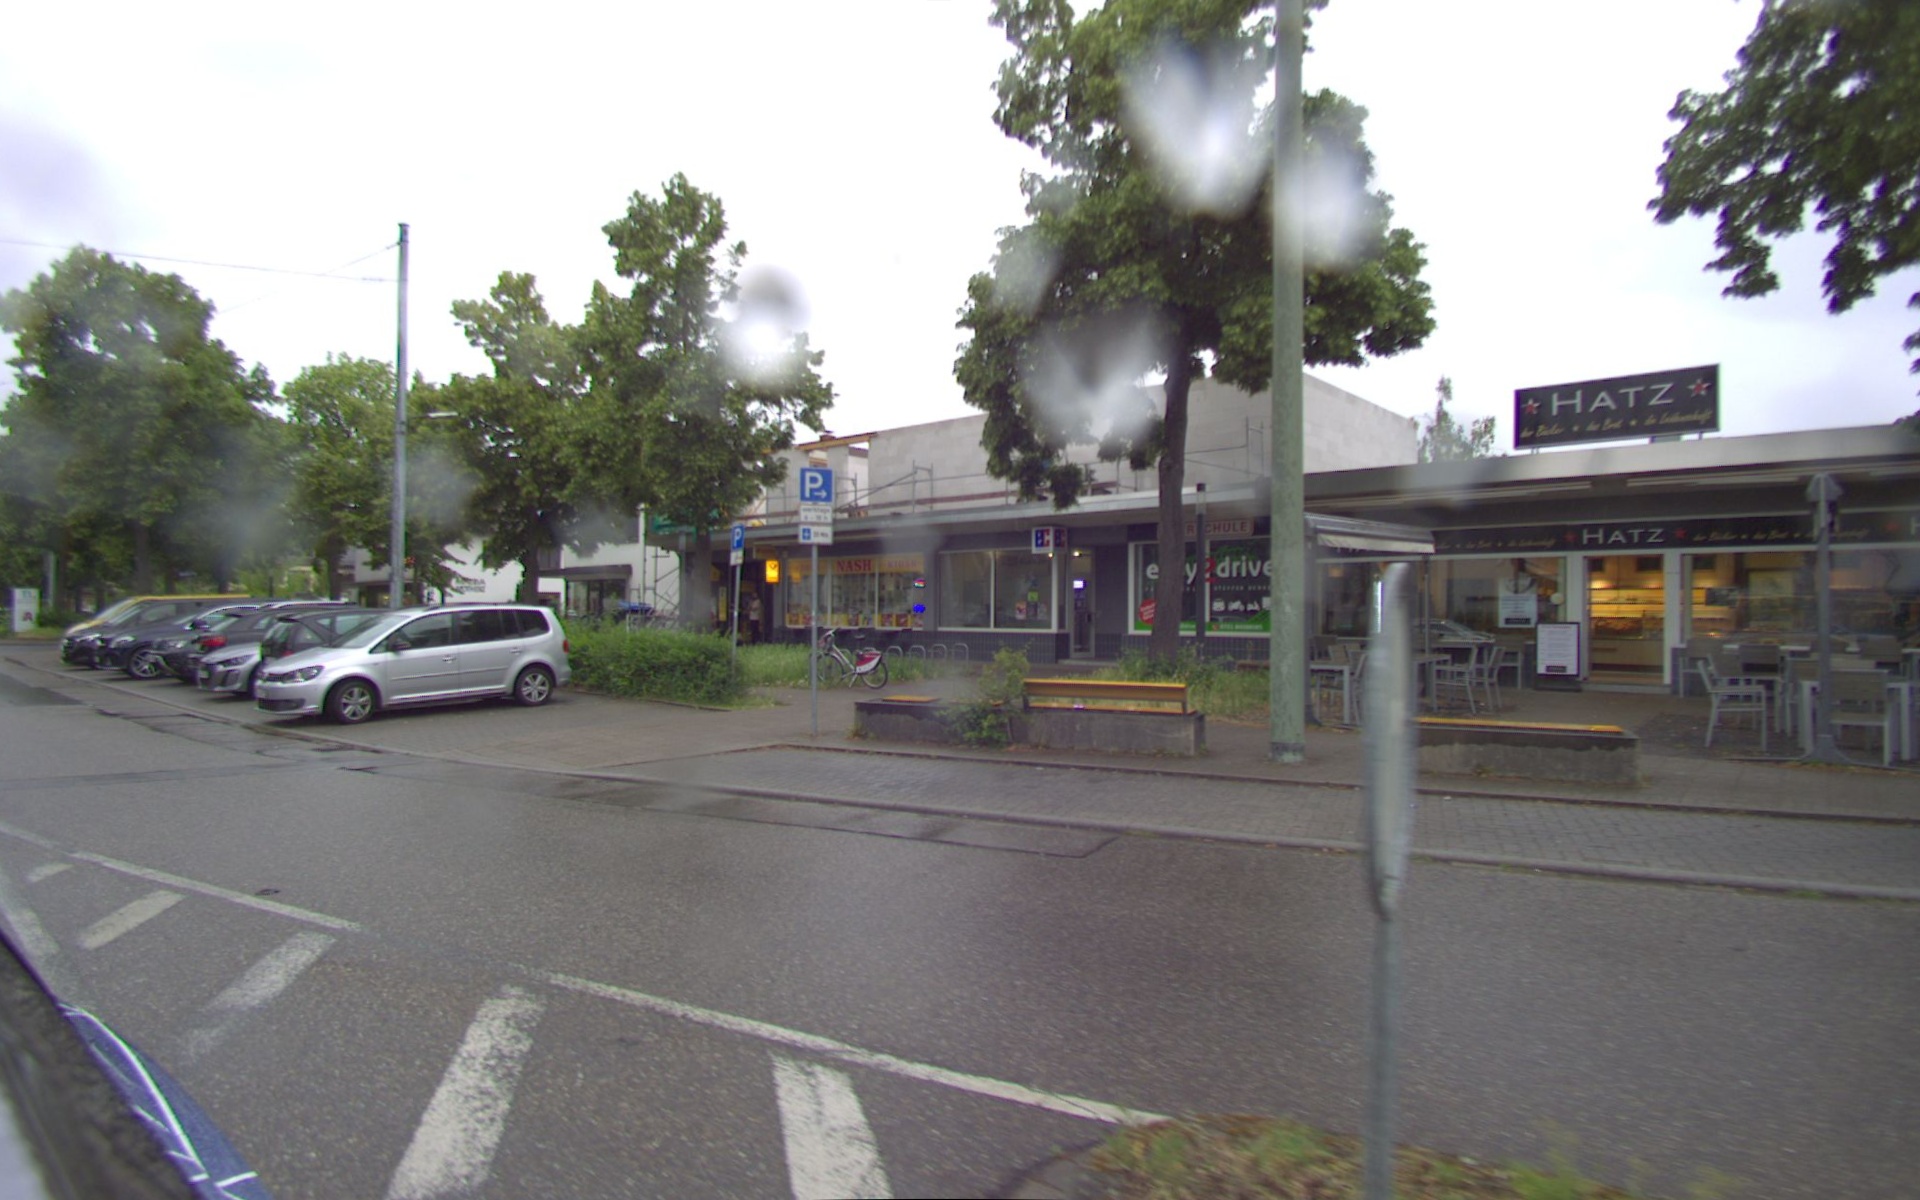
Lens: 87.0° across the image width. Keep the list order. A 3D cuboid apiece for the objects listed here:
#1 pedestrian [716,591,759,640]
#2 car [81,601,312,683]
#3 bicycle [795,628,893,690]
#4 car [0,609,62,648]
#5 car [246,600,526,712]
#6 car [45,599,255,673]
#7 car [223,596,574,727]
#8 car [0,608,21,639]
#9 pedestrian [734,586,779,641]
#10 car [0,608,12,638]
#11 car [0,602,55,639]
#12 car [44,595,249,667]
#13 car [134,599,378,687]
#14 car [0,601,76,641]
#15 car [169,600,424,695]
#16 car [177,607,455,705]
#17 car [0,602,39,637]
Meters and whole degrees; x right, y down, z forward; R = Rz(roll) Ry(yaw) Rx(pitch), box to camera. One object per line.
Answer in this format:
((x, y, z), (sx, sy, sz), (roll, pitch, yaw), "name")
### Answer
((-7.351, 0.505, 33.416), (1.063, 1.596, 0.950), (1, -1, -39), "pedestrian")
((-17.920, 0.917, 23.891), (1.897, 1.722, 4.037), (-1, 0, 39), "car")
((-2.142, 1.066, 18.646), (1.740, 1.080, 0.589), (0, -2, 24), "bicycle")
((-50.107, 1.487, 52.916), (1.897, 1.958, 4.489), (-1, 0, 39), "car")
((-9.937, 0.877, 17.748), (1.792, 1.686, 3.896), (-1, 0, 39), "car")
((-22.250, 0.925, 27.933), (1.897, 1.823, 4.249), (-1, 0, 39), "car")
((-8.443, 0.816, 15.535), (1.998, 1.686, 4.281), (-1, 0, 39), "car")
((-61.214, 1.492, 62.501), (1.897, 1.958, 4.489), (-1, 0, 40), "car")
((-6.485, 0.433, 32.265), (1.063, 1.727, 0.950), (1, -1, -39), "pedestrian")
((-63.259, 1.512, 64.121), (1.897, 1.958, 4.489), (-1, 0, 39), "car")
((-51.995, 1.099, 54.631), (1.897, 1.958, 4.489), (-1, 0, 39), "car")
((-24.264, 0.864, 30.325), (1.897, 1.958, 4.489), (-1, 0, 39), "car")
((-15.341, 0.864, 22.223), (1.897, 1.722, 4.037), (-1, 0, 39), "car")
((-47.908, 1.058, 51.277), (1.897, 1.958, 4.489), (-1, 0, 39), "car")
((-13.619, 0.895, 20.960), (1.897, 1.722, 4.037), (-1, 0, 39), "car")
((-12.084, 0.956, 19.178), (1.998, 1.583, 4.037), (-1, 0, 39), "car")
((-55.732, 1.137, 57.720), (1.897, 1.958, 4.489), (-1, 0, 39), "car")
